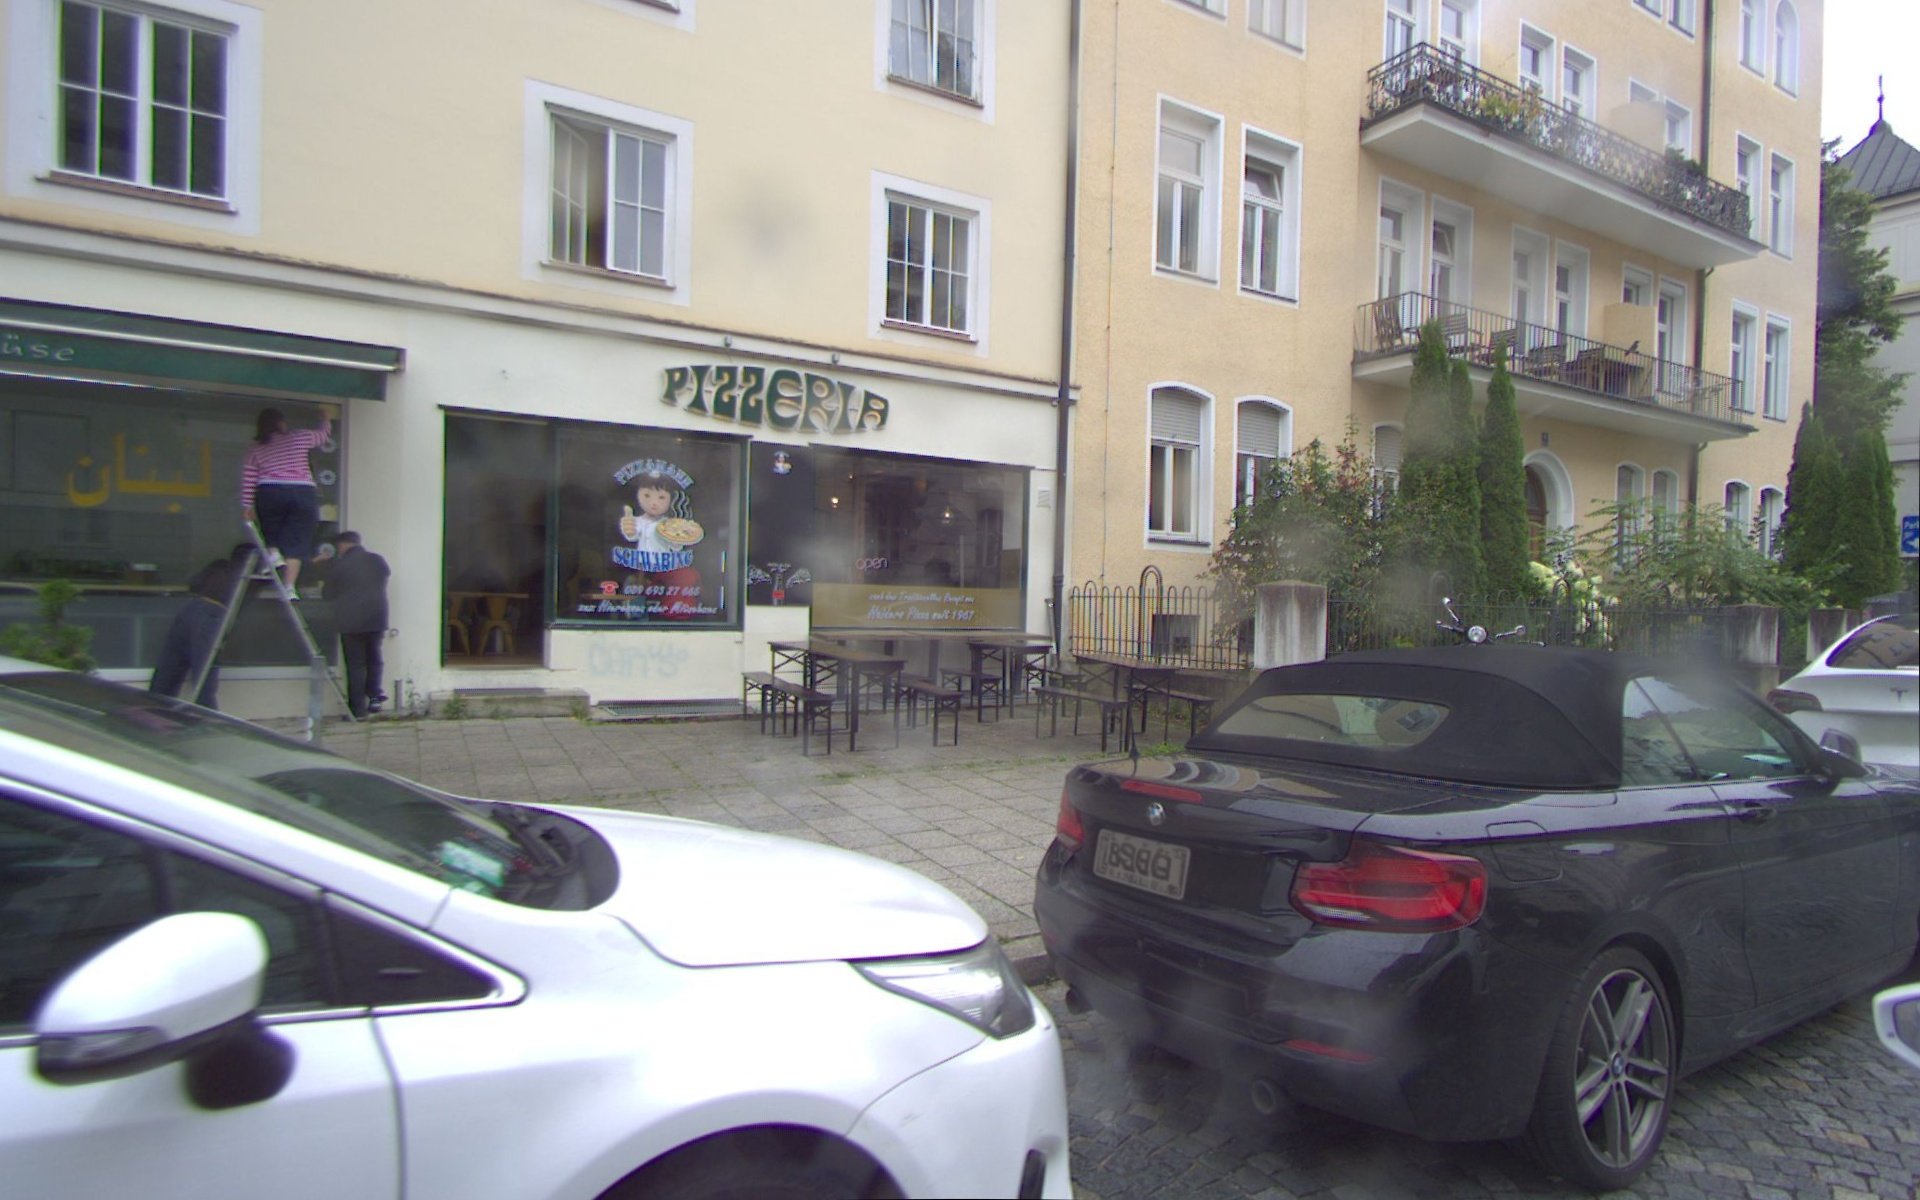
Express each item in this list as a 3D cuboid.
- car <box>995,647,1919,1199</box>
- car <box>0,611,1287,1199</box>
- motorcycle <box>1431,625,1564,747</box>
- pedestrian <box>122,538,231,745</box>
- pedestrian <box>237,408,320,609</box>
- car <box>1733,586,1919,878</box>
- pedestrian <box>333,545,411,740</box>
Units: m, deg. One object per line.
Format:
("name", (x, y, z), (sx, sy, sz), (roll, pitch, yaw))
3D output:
("car", (2.423, 0.889, 4.022), (4.342, 1.377, 1.765), (2, -4, -32))
("car", (-1.772, 0.815, 1.528), (4.487, 1.557, 1.765), (2, 0, -30))
("motorcycle", (5.723, 0.884, 10.664), (1.561, 1.210, 0.488), (1, 0, -31))
("pedestrian", (-6.571, 0.338, 8.448), (0.622, 1.664, 0.519), (1, 0, -30))
("pedestrian", (-5.874, -0.763, 8.681), (0.490, 1.664, 0.476), (1, 0, -25))
("car", (7.382, 0.808, 6.845), (4.337, 1.669, 1.766), (2, 0, -29))
("pedestrian", (-5.334, 0.376, 9.140), (0.567, 1.713, 0.459), (1, 0, -29))
